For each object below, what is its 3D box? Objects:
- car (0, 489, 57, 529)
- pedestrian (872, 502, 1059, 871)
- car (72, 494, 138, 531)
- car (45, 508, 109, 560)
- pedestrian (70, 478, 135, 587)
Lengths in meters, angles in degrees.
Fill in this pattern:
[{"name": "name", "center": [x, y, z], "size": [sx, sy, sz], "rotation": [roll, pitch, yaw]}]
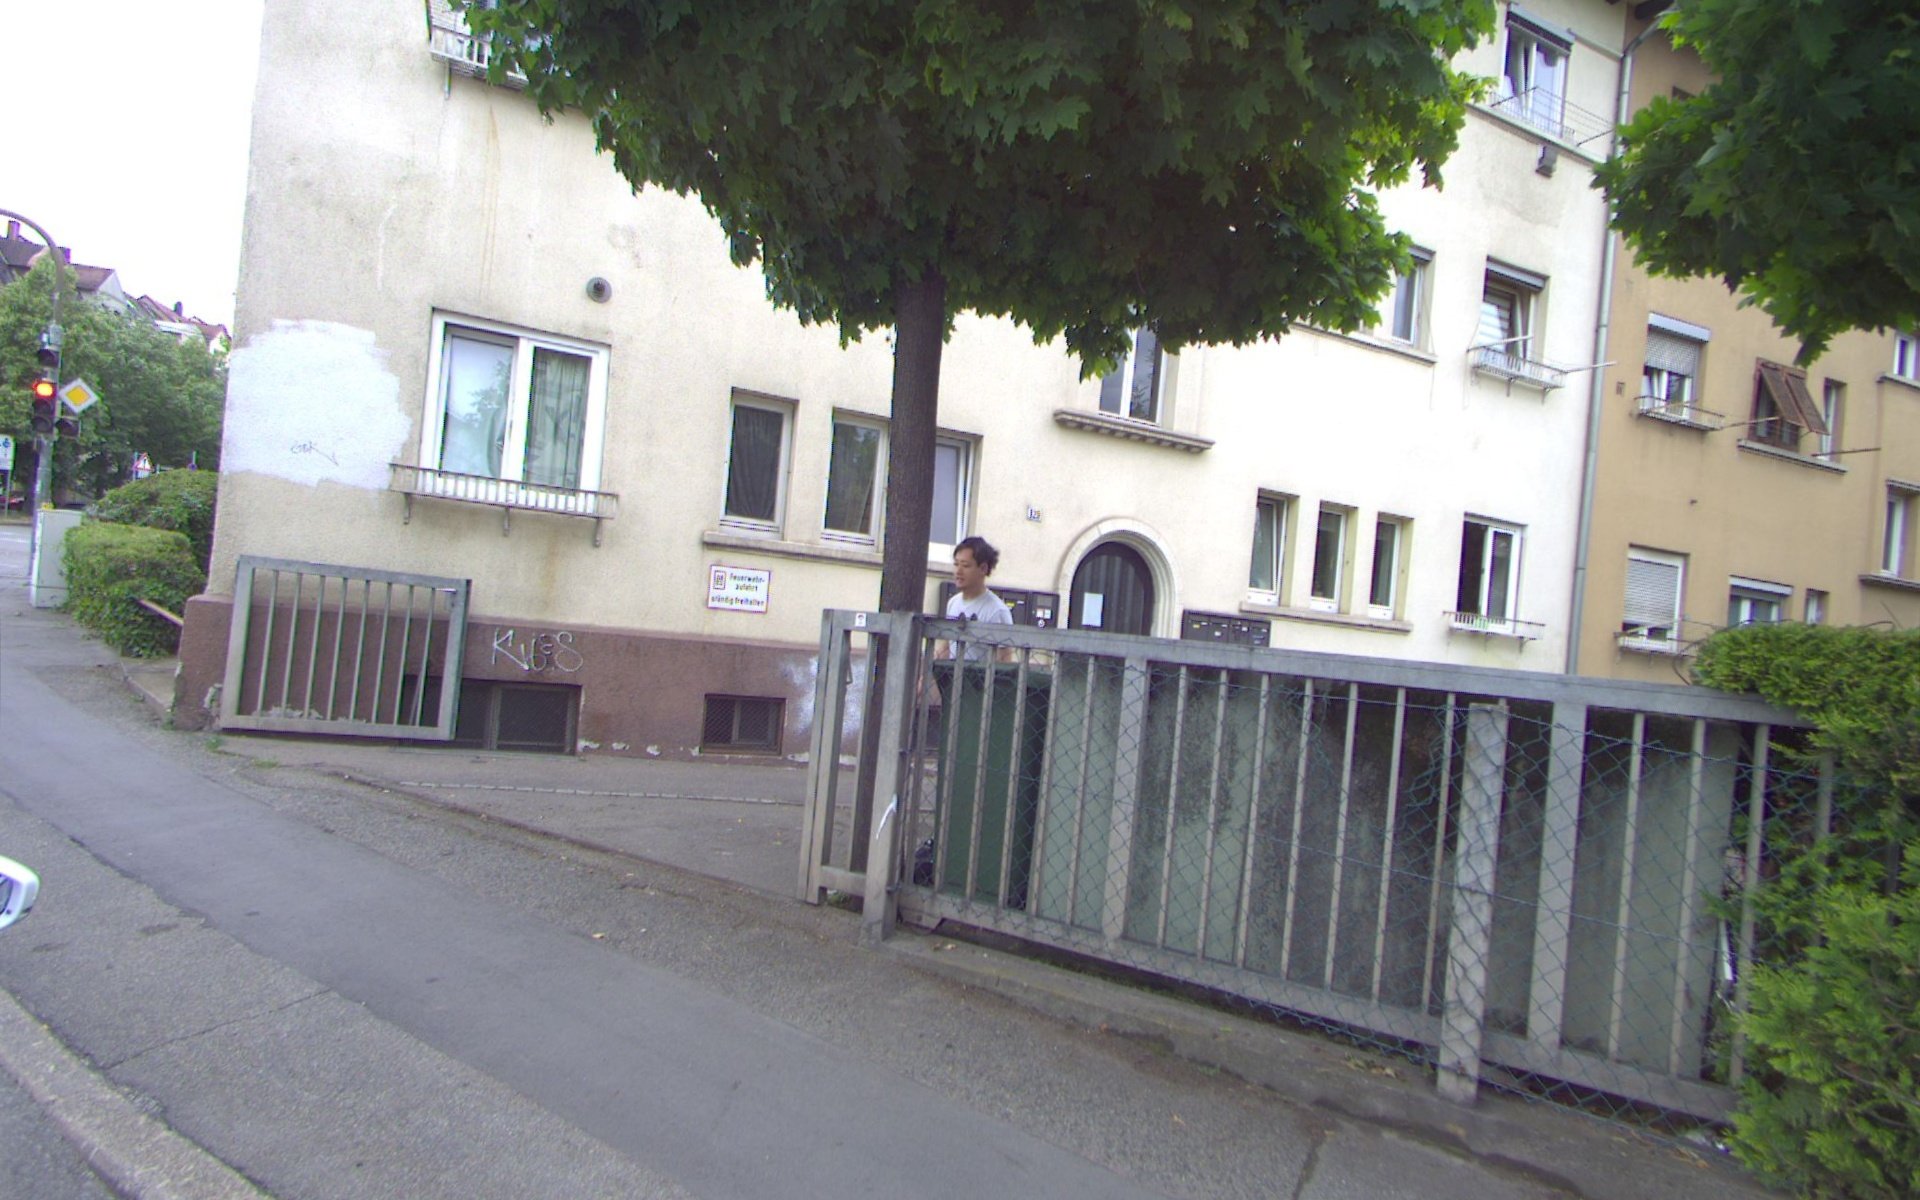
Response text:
[{"name": "car", "center": [-60.843, -5.925, 64.959], "size": [1.970, 2.036, 3.992], "rotation": [9, -3, -15]}, {"name": "pedestrian", "center": [0.027, 0.414, 5.222], "size": [0.684, 1.761, 0.466], "rotation": [7, 3, 29]}, {"name": "car", "center": [-63.142, -6.441, 74.364], "size": [1.970, 2.036, 3.992], "rotation": [9, -3, -15]}, {"name": "car", "center": [-41.479, -3.060, 47.339], "size": [1.987, 2.036, 3.956], "rotation": [9, -3, -41]}, {"name": "pedestrian", "center": [-15.359, -1.211, 18.026], "size": [0.581, 1.840, 0.529], "rotation": [7, -2, 32]}]
